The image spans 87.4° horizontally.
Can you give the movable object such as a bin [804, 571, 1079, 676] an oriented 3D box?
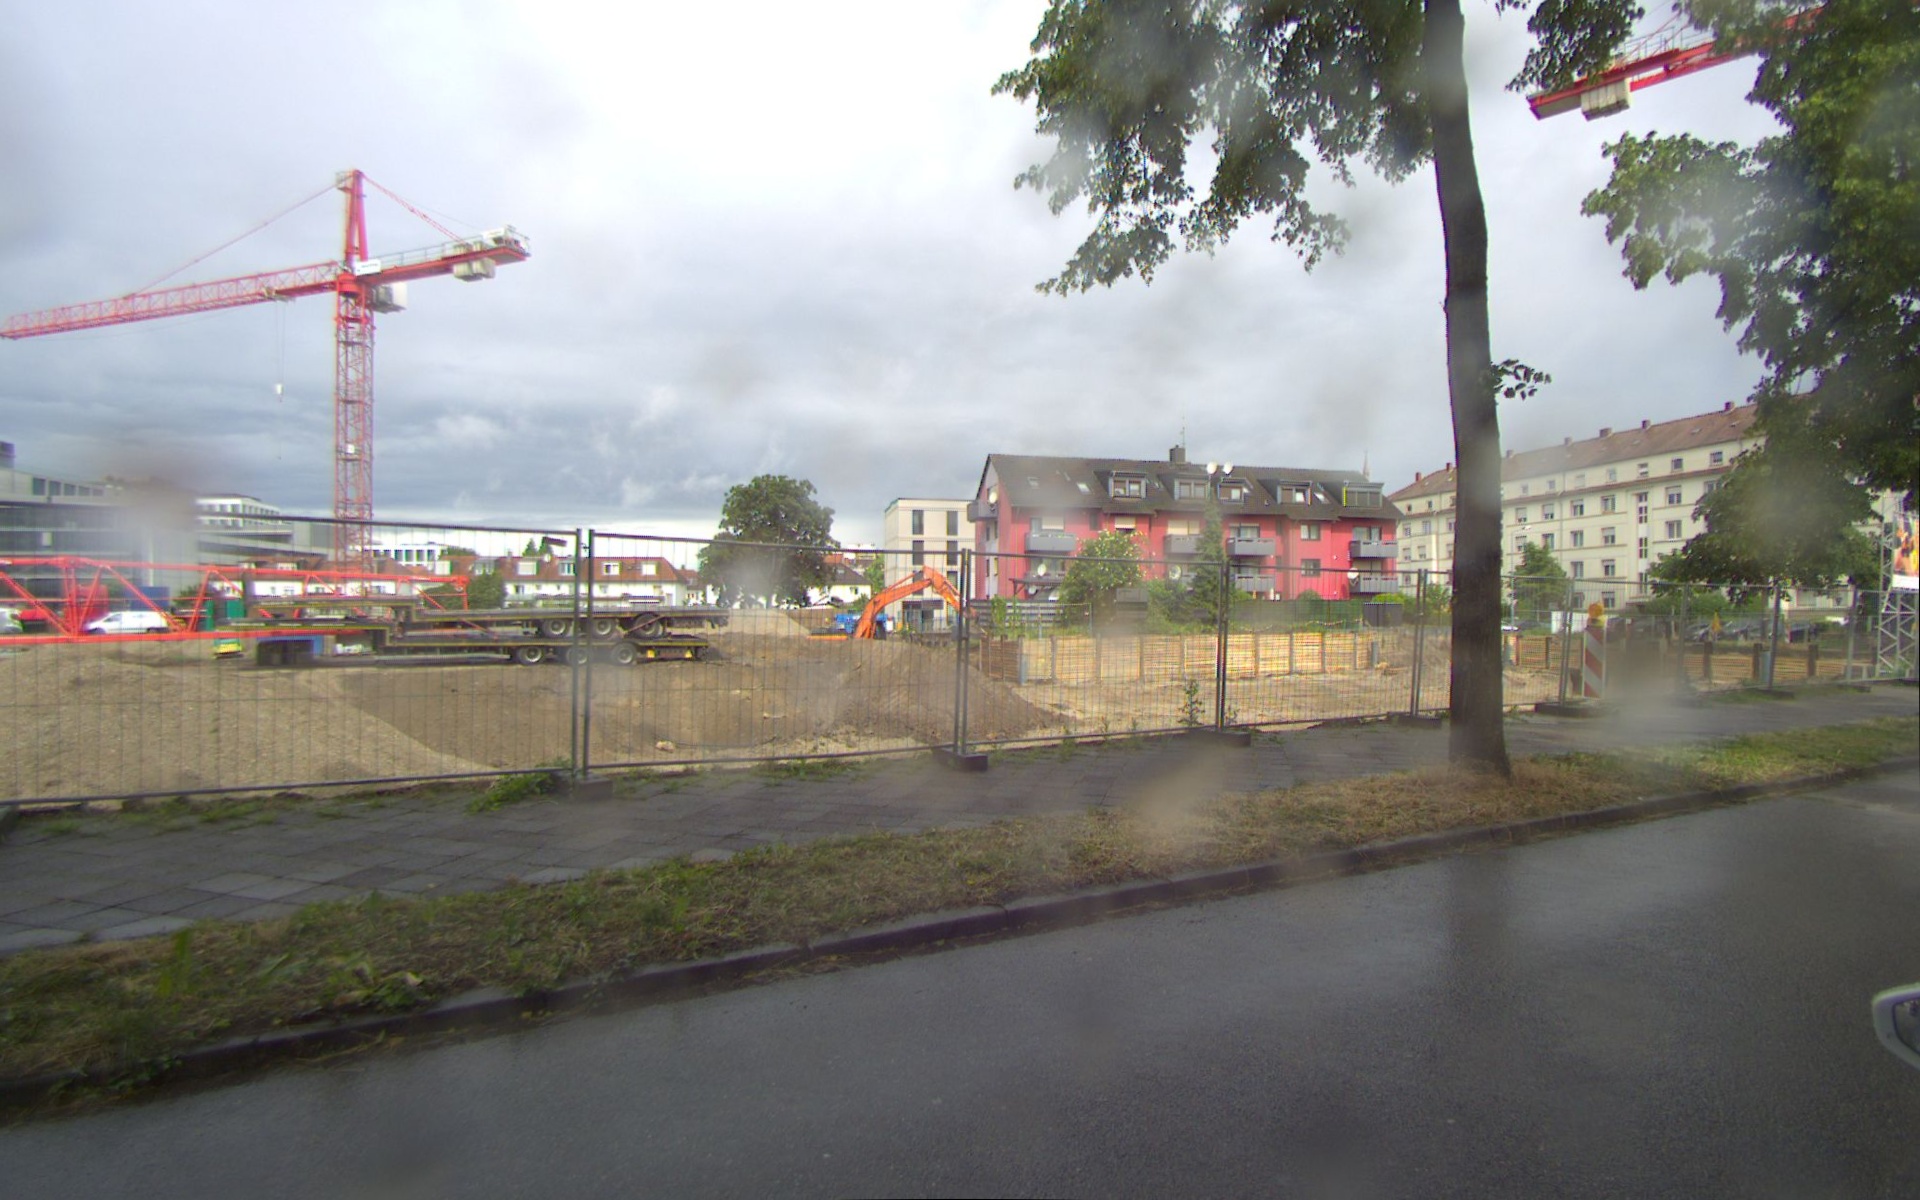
[{"bbox_3d":[-1.325,1.388,63.353,16.430,6.125,6.885,0,0,-6],"label":"movable object such as a bin"}]
